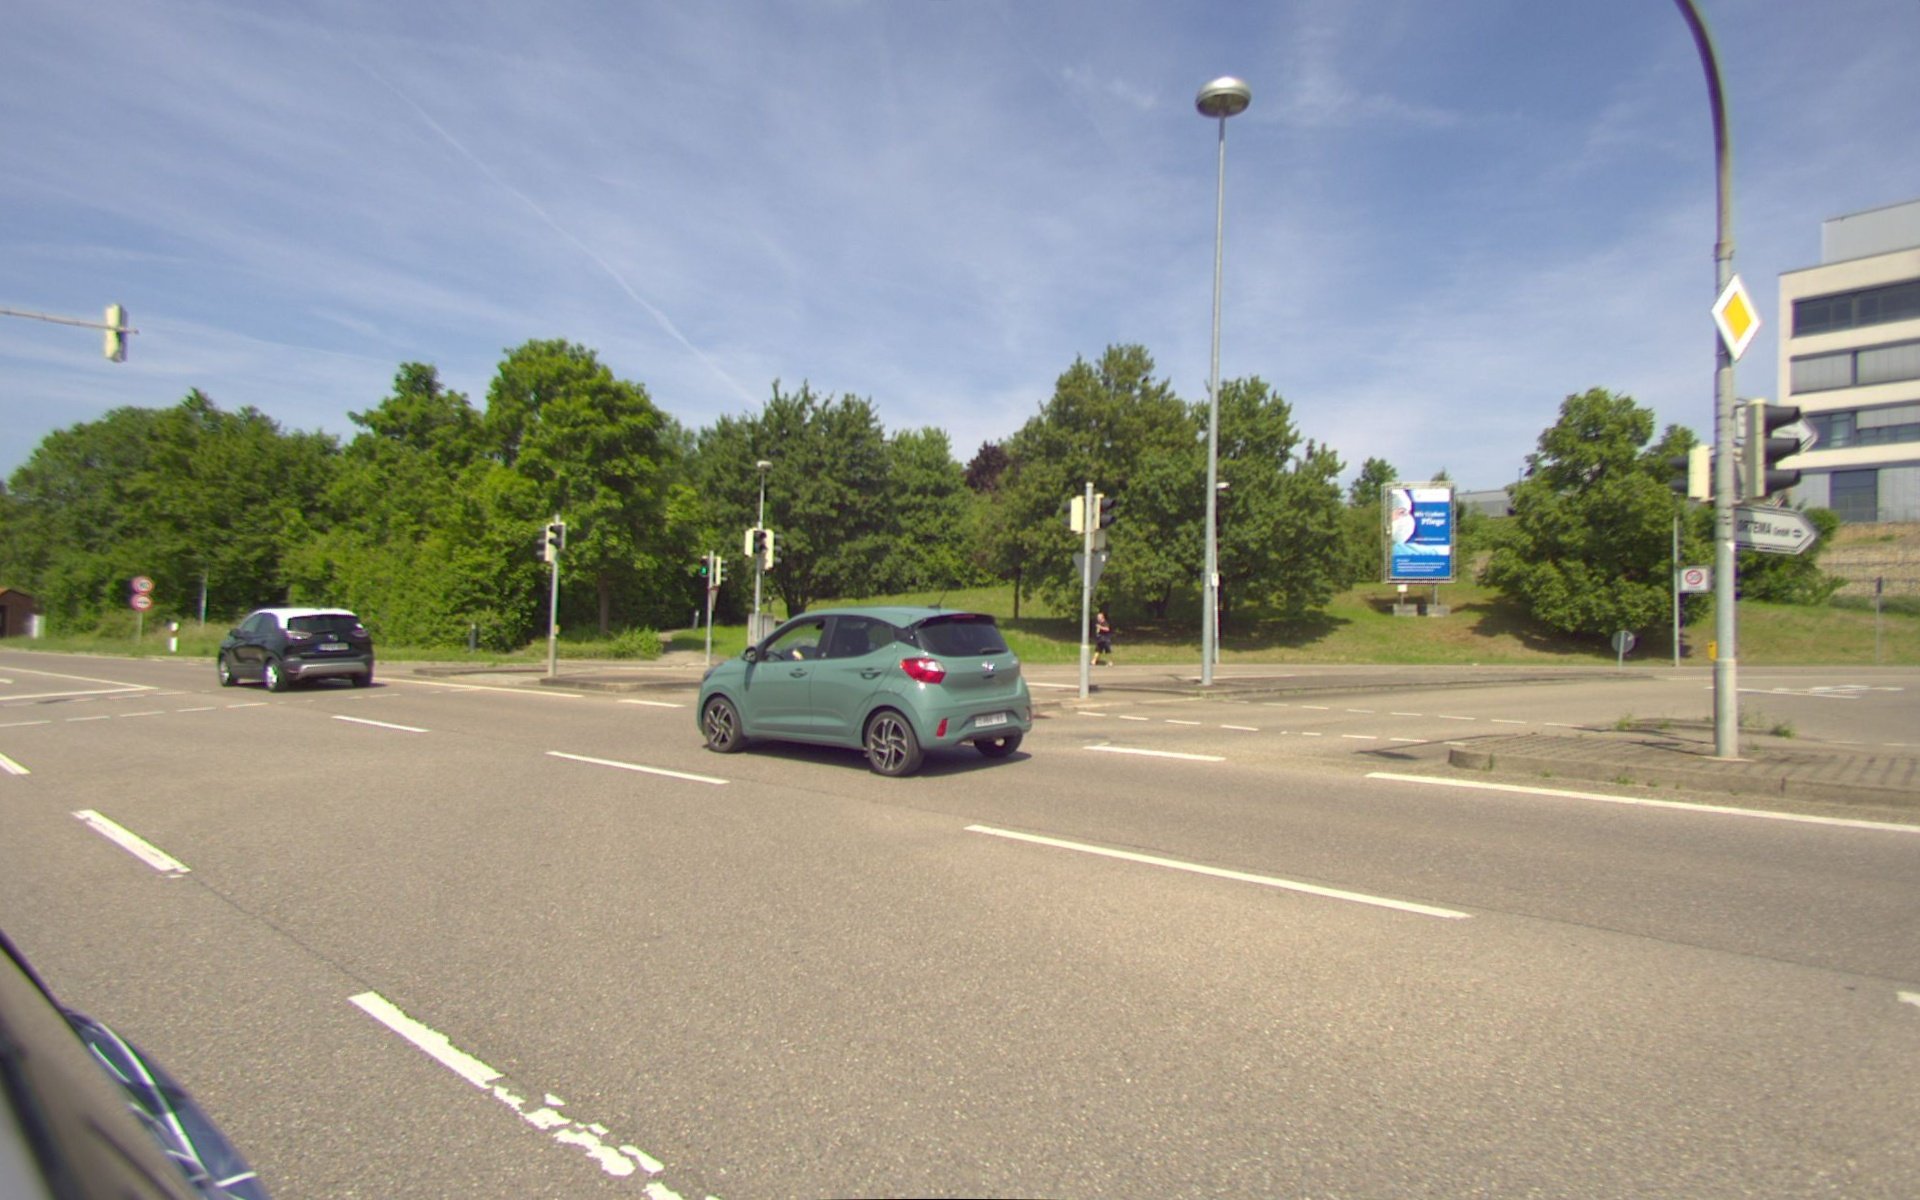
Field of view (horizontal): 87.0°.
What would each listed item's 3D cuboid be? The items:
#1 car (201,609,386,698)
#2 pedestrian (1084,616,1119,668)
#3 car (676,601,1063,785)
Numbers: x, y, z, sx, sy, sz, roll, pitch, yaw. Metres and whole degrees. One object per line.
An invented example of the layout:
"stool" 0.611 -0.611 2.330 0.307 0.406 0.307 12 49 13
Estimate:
"car" -13.387 0.980 20.244 4.185 1.574 1.955 -1 0 39
"pedestrian" 4.933 1.445 35.219 0.906 1.749 0.902 0 -1 -15
"car" -1.024 0.777 10.124 3.830 1.494 1.689 -1 -1 41
